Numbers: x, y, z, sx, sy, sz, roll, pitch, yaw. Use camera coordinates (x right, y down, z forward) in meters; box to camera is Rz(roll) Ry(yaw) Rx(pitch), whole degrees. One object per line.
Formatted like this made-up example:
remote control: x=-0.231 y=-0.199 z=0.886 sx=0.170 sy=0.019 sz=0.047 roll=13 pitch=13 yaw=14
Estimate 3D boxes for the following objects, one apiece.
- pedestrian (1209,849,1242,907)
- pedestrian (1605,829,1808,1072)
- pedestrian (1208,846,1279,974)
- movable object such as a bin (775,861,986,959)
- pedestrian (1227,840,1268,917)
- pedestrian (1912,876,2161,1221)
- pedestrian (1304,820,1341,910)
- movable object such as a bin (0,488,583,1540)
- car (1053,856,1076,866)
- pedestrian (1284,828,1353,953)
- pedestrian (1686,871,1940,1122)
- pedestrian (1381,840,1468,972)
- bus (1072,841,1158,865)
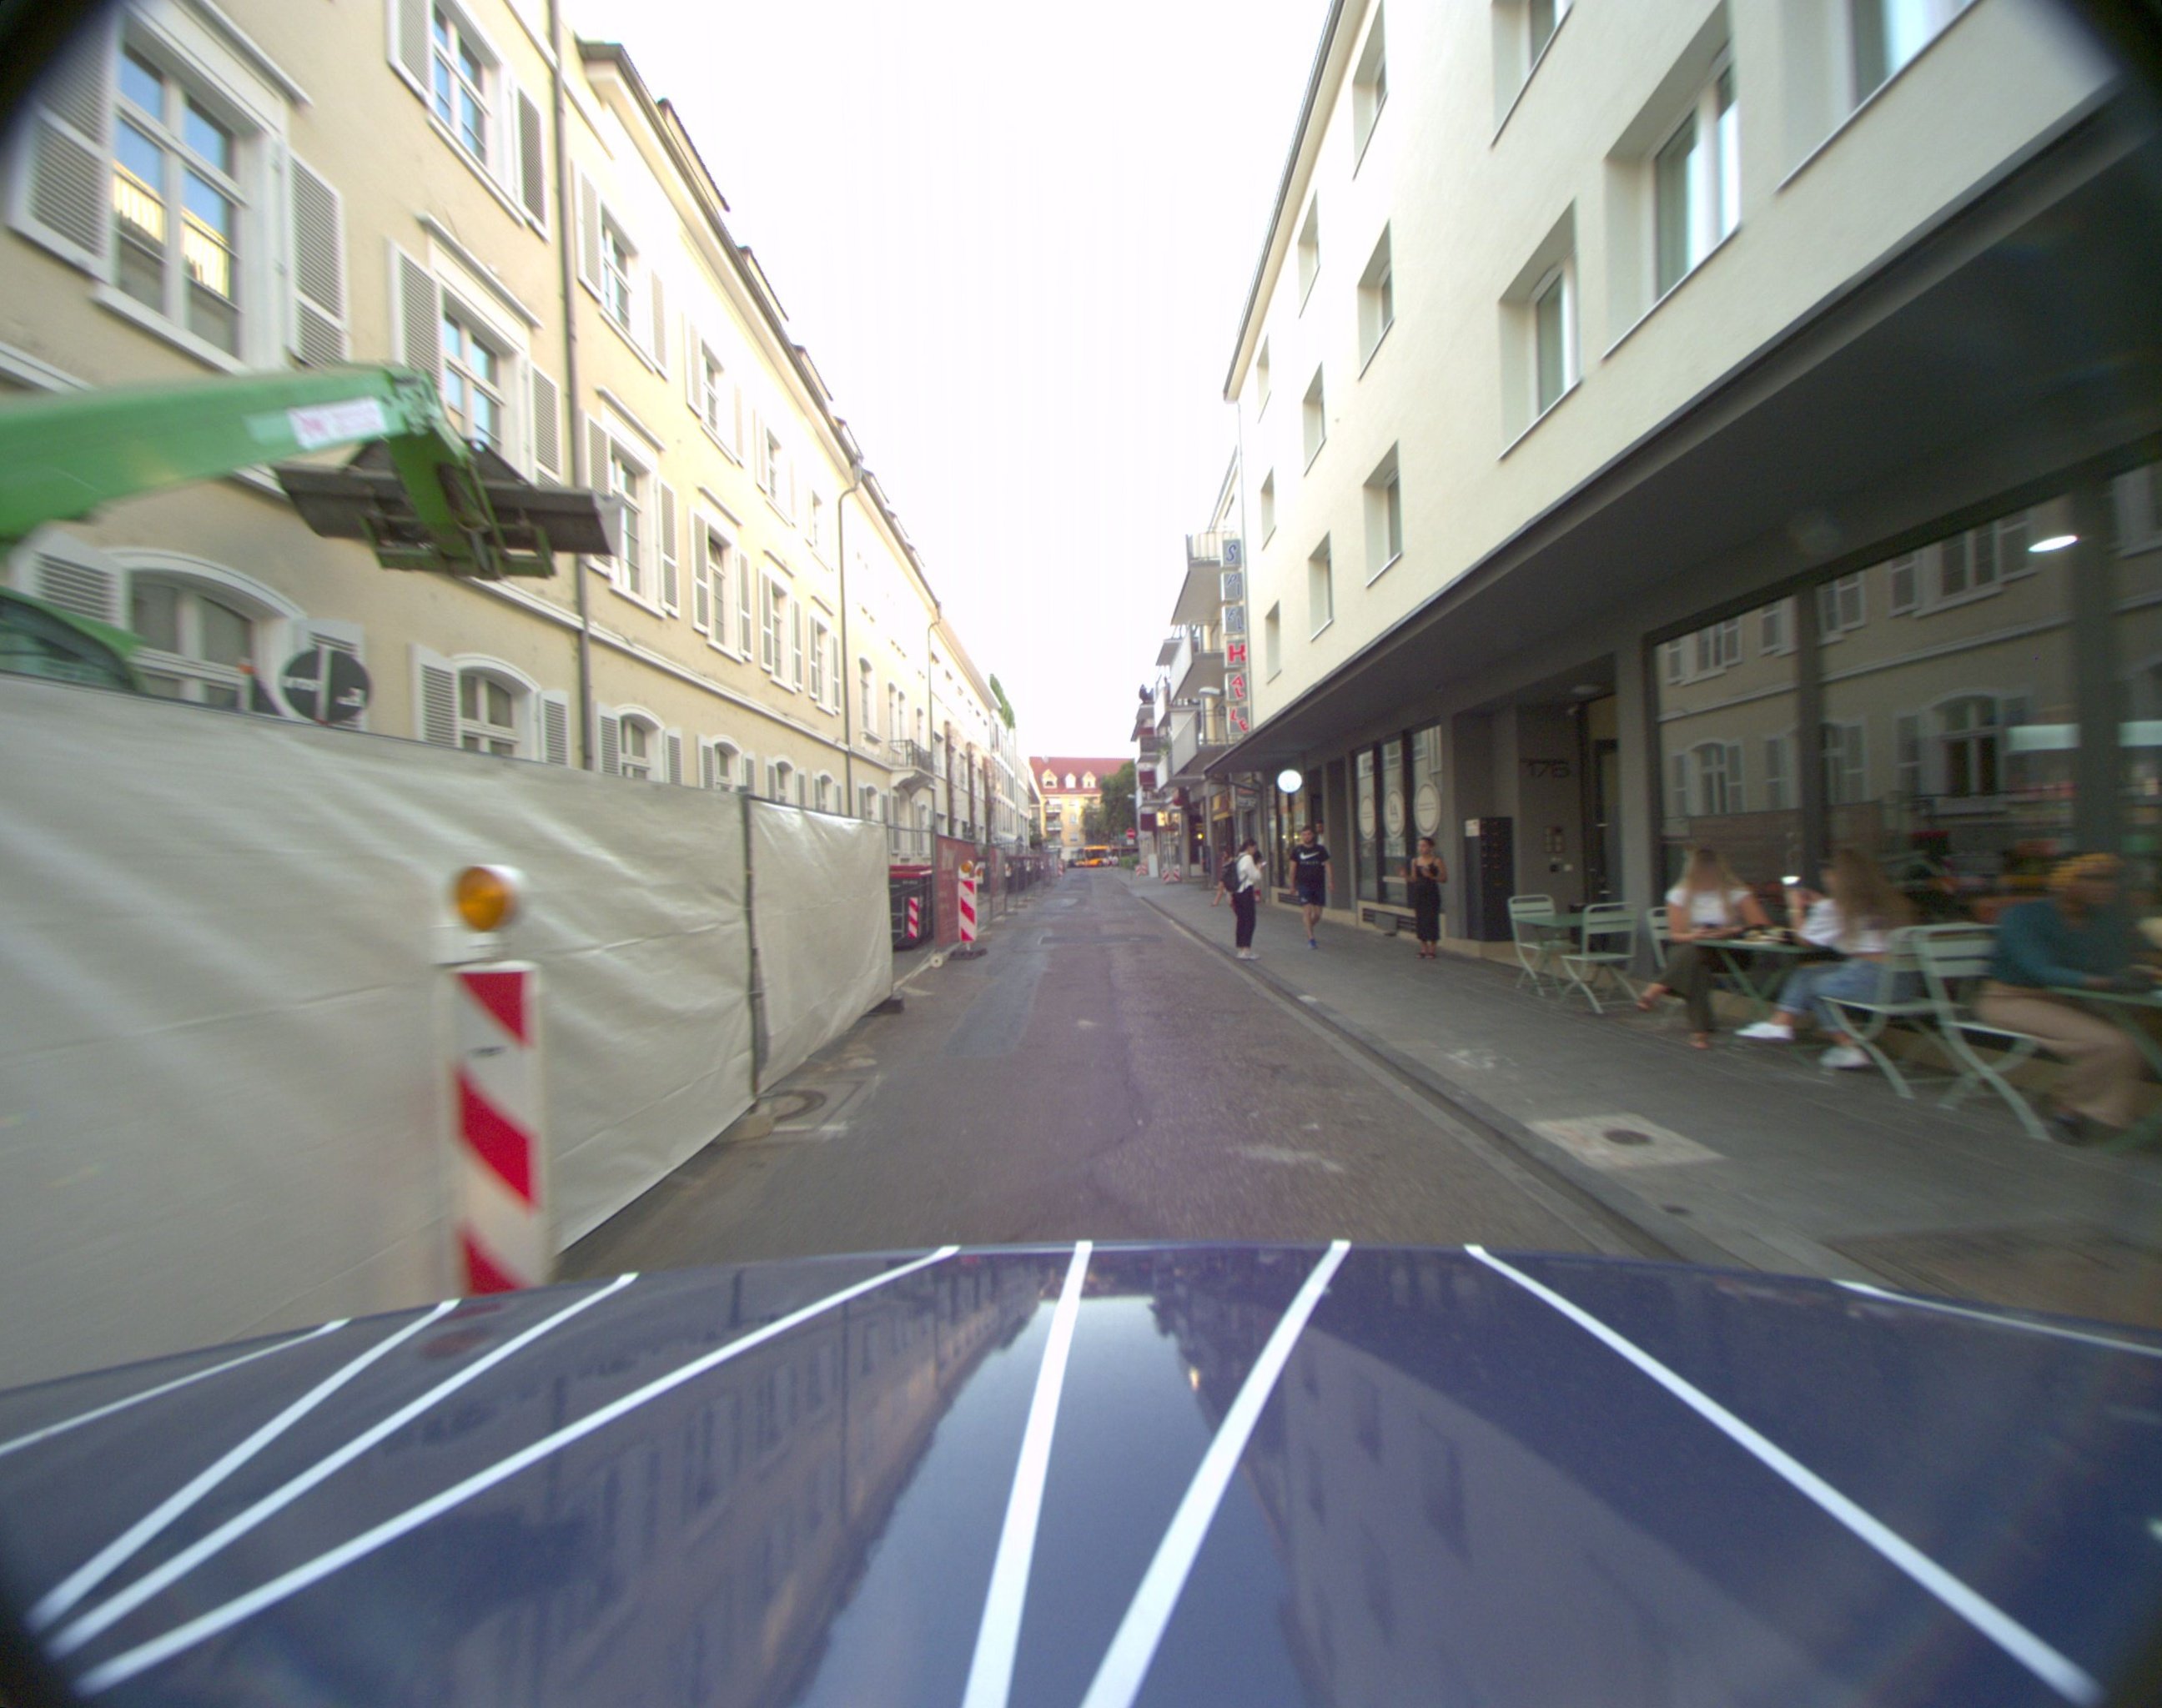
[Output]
pedestrian: x=4.069 y=0.676 z=21.474 sx=0.710 sy=1.569 sz=0.613 roll=-4 pitch=1 yaw=-3
pedestrian: x=4.288 y=0.625 z=5.284 sx=0.705 sy=1.538 sz=0.861 roll=-3 pitch=1 yaw=8
pedestrian: x=2.256 y=0.756 z=10.644 sx=0.784 sy=1.729 sz=0.758 roll=0 pitch=1 yaw=-5
movable object such as a bin: x=-4.013 y=1.026 z=17.142 sx=2.898 sy=1.655 sz=7.293 roll=-1 pitch=0 yaw=-1
pedestrian: x=3.967 y=0.562 z=18.199 sx=0.706 sy=1.771 sz=0.932 roll=-3 pitch=1 yaw=0
pedestrian: x=4.398 y=0.753 z=3.266 sx=0.705 sy=1.232 sz=0.778 roll=-5 pitch=1 yaw=4
pedestrian: x=4.935 y=0.229 z=15.568 sx=0.545 sy=1.800 sz=0.613 roll=-1 pitch=1 yaw=0
movable object such as a bin: x=-4.252 y=0.448 z=1.709 sx=2.642 sy=2.856 sz=5.564 roll=-1 pitch=0 yaw=-2
car: x=-2.546 y=1.135 z=117.920 sx=1.795 sy=1.466 sz=3.990 roll=-1 pitch=0 yaw=-33
pedestrian: x=3.610 y=0.536 z=11.622 sx=0.716 sy=1.800 sz=0.933 roll=-2 pitch=0 yaw=1
pedestrian: x=4.322 y=0.762 z=4.527 sx=0.707 sy=1.278 sz=0.859 roll=-3 pitch=1 yaw=-24
pedestrian: x=4.312 y=0.631 z=9.551 sx=0.659 sy=1.560 sz=0.637 roll=-4 pitch=0 yaw=-25
bus: x=5.212 y=-0.224 z=115.798 sx=12.548 sy=3.306 sz=3.917 roll=-2 pitch=2 yaw=-24
